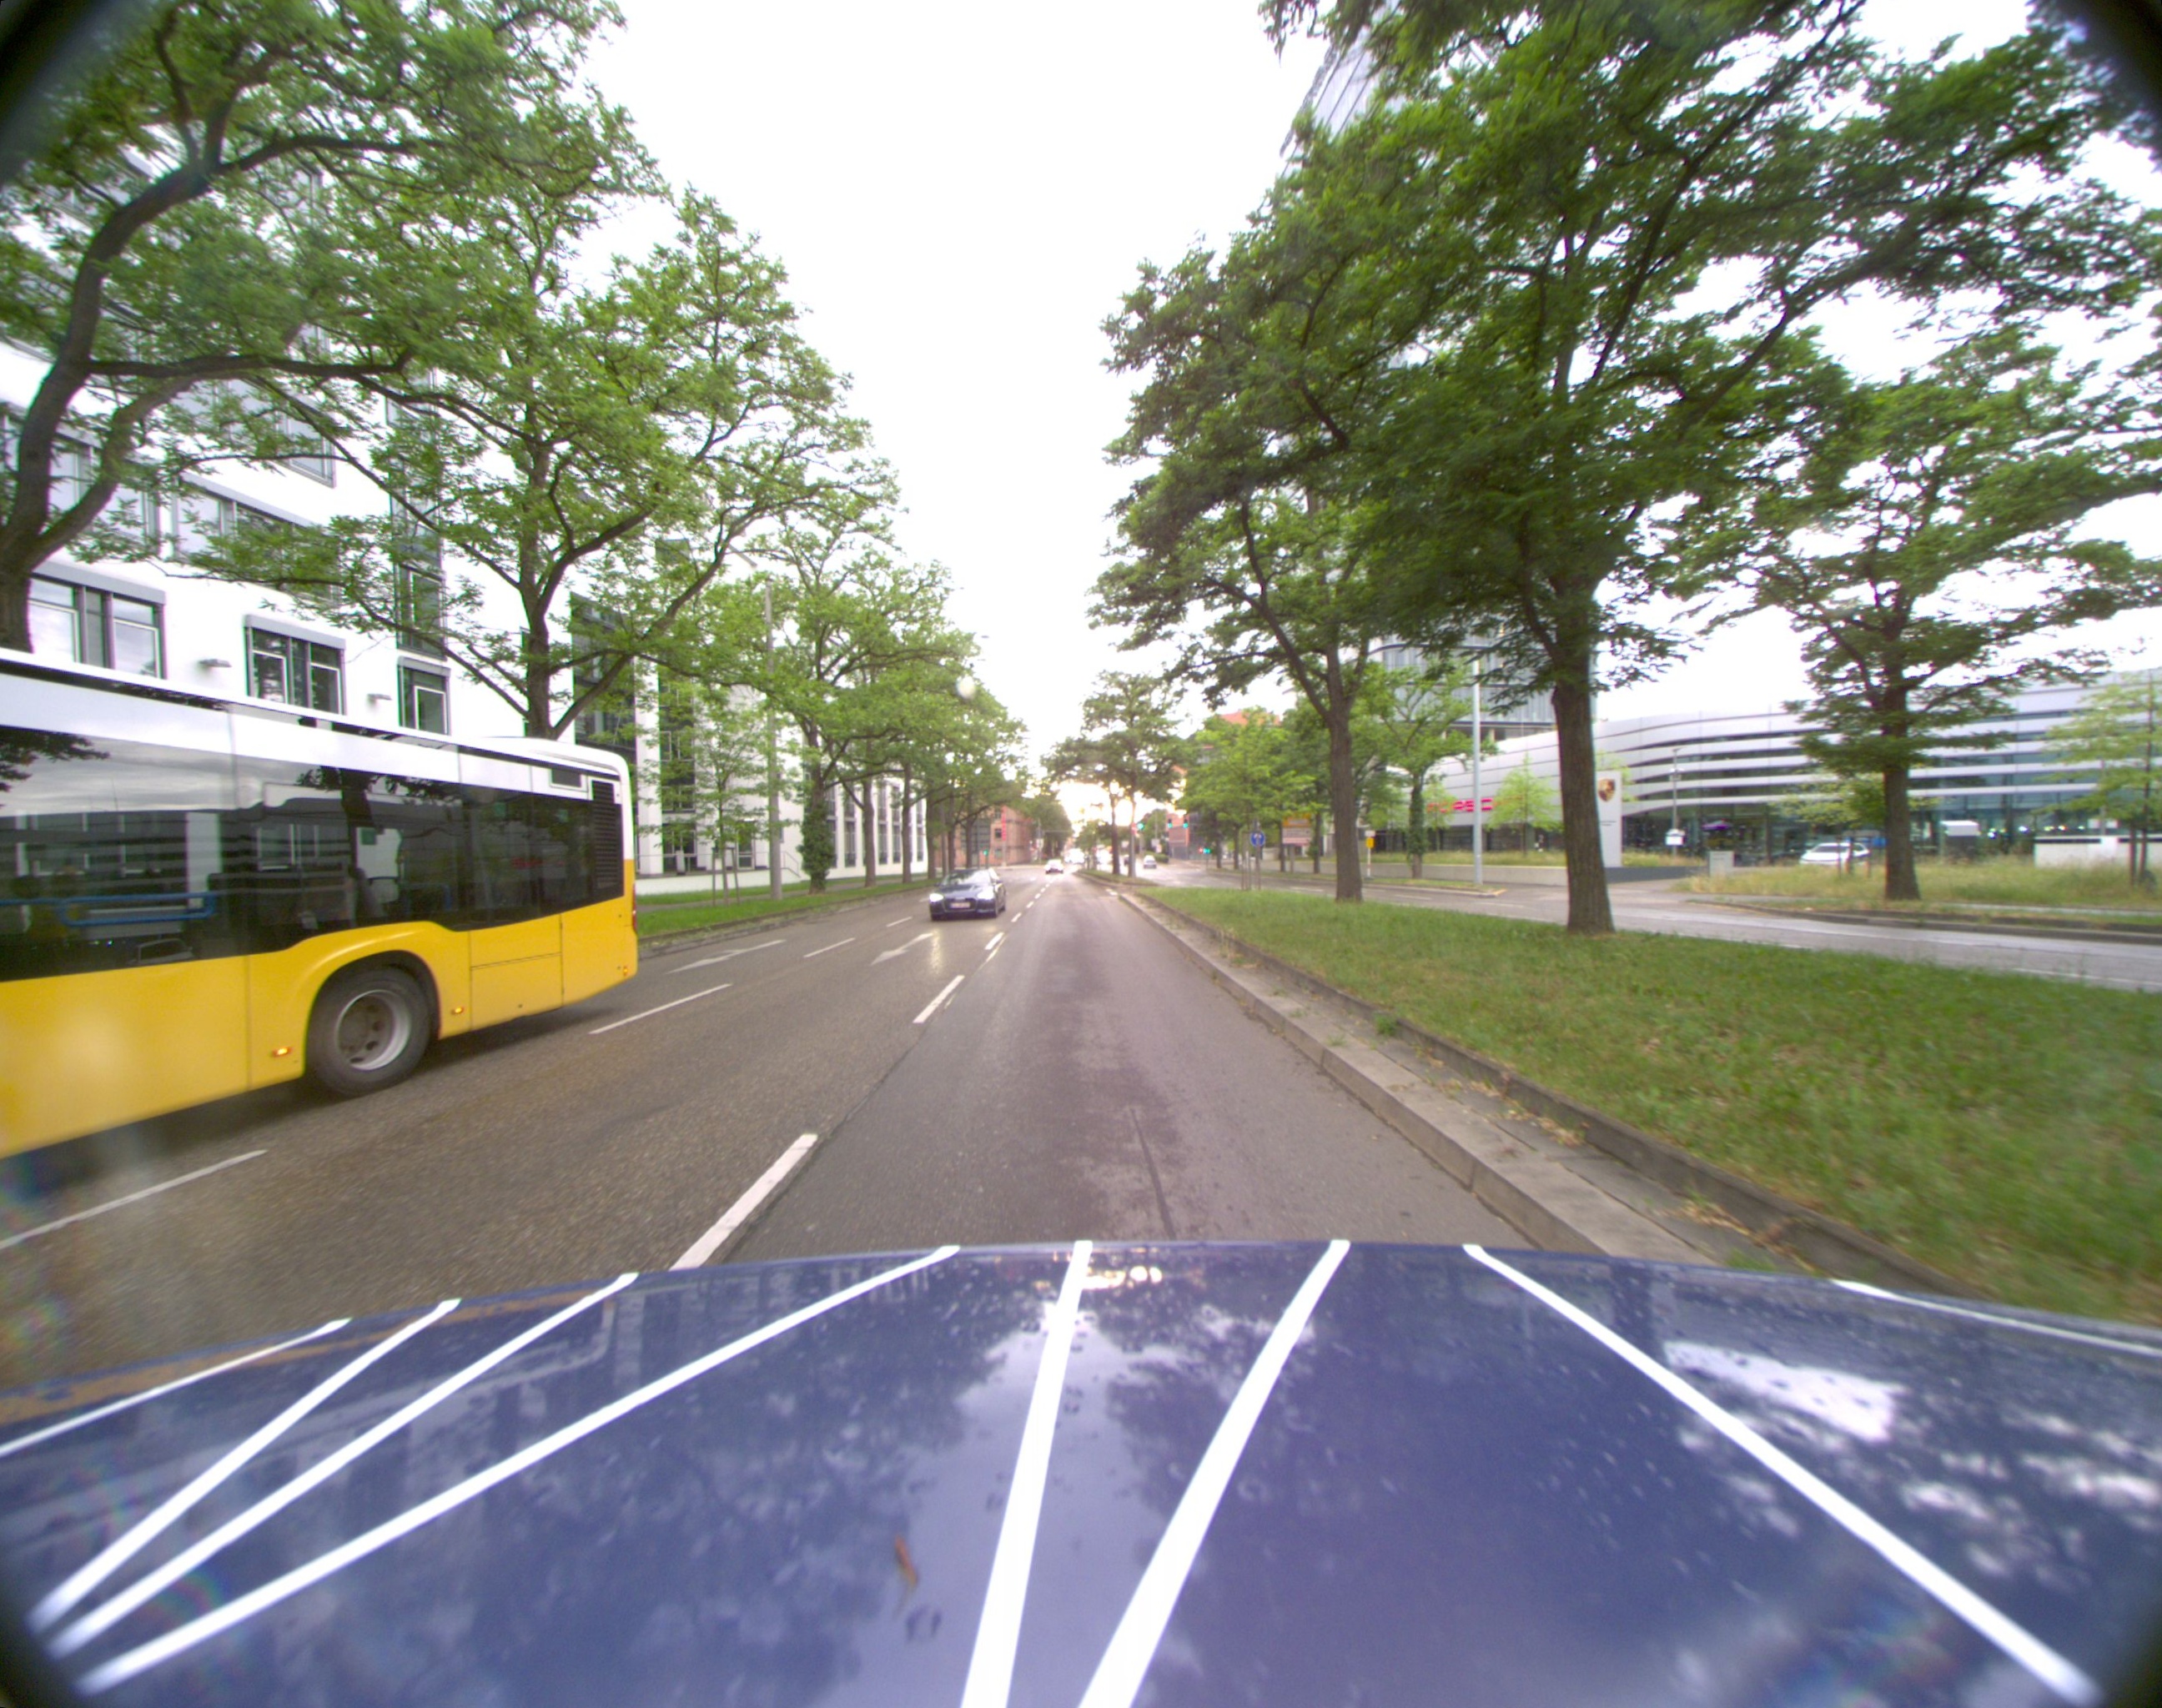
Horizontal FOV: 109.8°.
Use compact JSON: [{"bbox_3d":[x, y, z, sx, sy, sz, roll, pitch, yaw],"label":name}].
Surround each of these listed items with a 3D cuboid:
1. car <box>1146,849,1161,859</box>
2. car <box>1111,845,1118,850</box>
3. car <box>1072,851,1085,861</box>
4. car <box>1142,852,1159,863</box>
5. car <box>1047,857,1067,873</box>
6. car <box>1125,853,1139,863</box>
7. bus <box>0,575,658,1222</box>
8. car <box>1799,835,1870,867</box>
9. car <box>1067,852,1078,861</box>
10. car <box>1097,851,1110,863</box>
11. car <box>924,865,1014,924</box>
[{"bbox_3d":[11.901,-0.050,125.112,1.783,1.445,3.998,-3,1,-2],"label":"car"},{"bbox_3d":[10.509,-2.090,236.972,1.783,1.445,3.998,-3,1,-2],"label":"car"},{"bbox_3d":[-0.443,0.290,128.591,1.998,1.707,4.000,-1,0,1],"label":"car"},{"bbox_3d":[9.924,0.498,108.381,1.894,1.445,3.998,-3,1,-2],"label":"car"},{"bbox_3d":[-2.439,1.134,78.147,1.625,1.426,3.551,-3,1,3],"label":"car"},{"bbox_3d":[8.110,0.648,120.494,1.846,1.581,4.172,-1,1,-2],"label":"car"},{"bbox_3d":[-6.605,0.265,3.056,2.734,3.133,12.145,-3,0,1],"label":"bus"},{"bbox_3d":[39.128,-0.150,39.428,4.006,1.405,1.774,-4,1,-33],"label":"car"},{"bbox_3d":[-1.736,0.450,148.484,1.998,1.576,4.000,-1,0,1],"label":"car"},{"bbox_3d":[3.862,0.482,130.808,1.998,2.002,4.000,-1,0,1],"label":"car"},{"bbox_3d":[-3.148,1.097,22.231,1.878,1.346,4.331,-3,1,0],"label":"car"}]
